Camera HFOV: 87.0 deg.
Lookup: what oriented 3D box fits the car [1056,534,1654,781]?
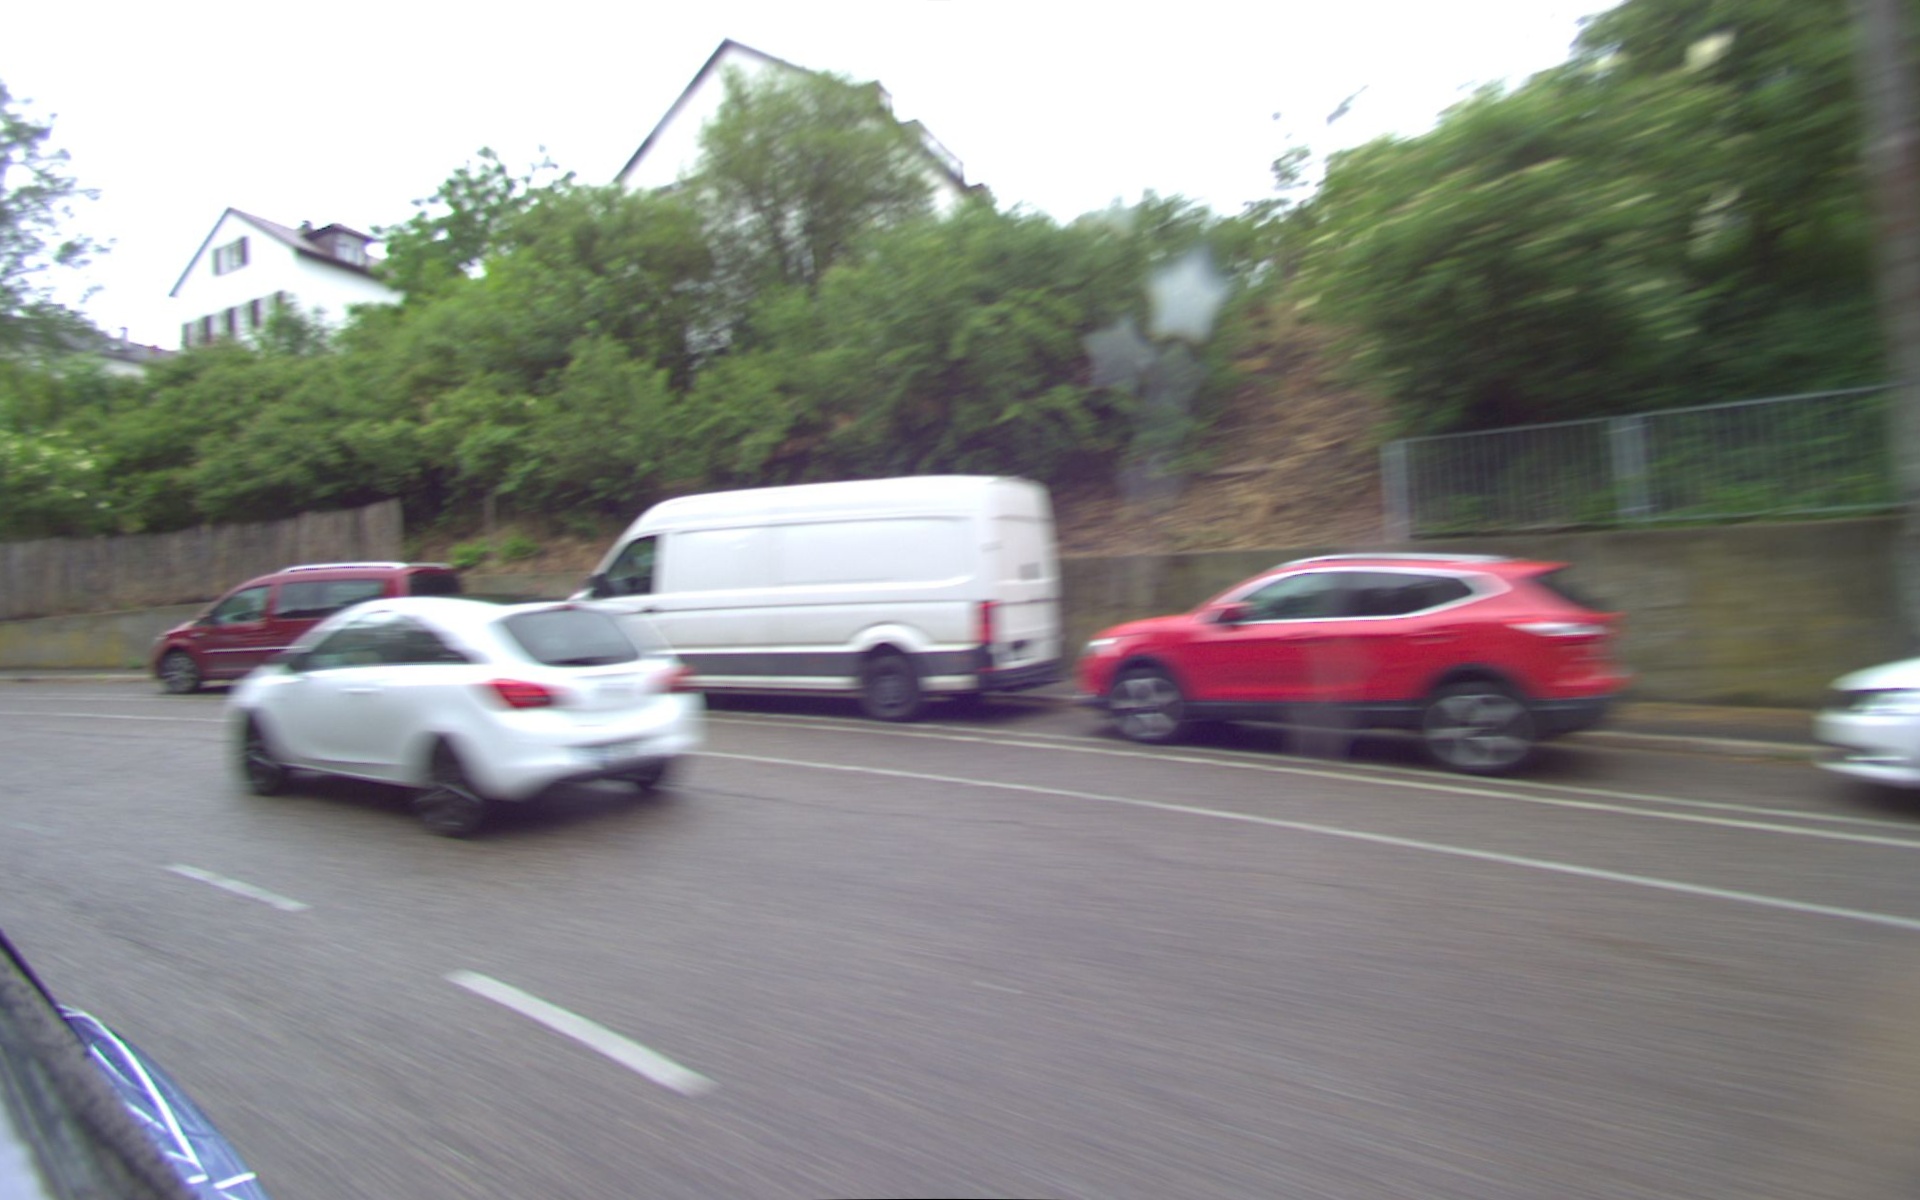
[{"bbox_3d":[3.170,0.384,8.618,4.426,1.597,1.759,-1,0,38],"label":"car"}]

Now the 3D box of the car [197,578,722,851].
[{"bbox_3d":[-3.753,0.667,7.360,4.021,1.507,1.589,-2,0,33],"label":"car"}]

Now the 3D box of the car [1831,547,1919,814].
[{"bbox_3d":[7.155,0.393,4.975,1.718,1.490,4.202,-3,1,-44],"label":"car"}]

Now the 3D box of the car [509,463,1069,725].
[{"bbox_3d":[-2.232,-0.025,12.272,6.786,2.550,2.023,-1,0,26],"label":"car"}]

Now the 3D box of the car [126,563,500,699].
[{"bbox_3d":[-9.833,0.447,15.543,4.769,1.890,1.994,-1,0,10],"label":"car"}]
